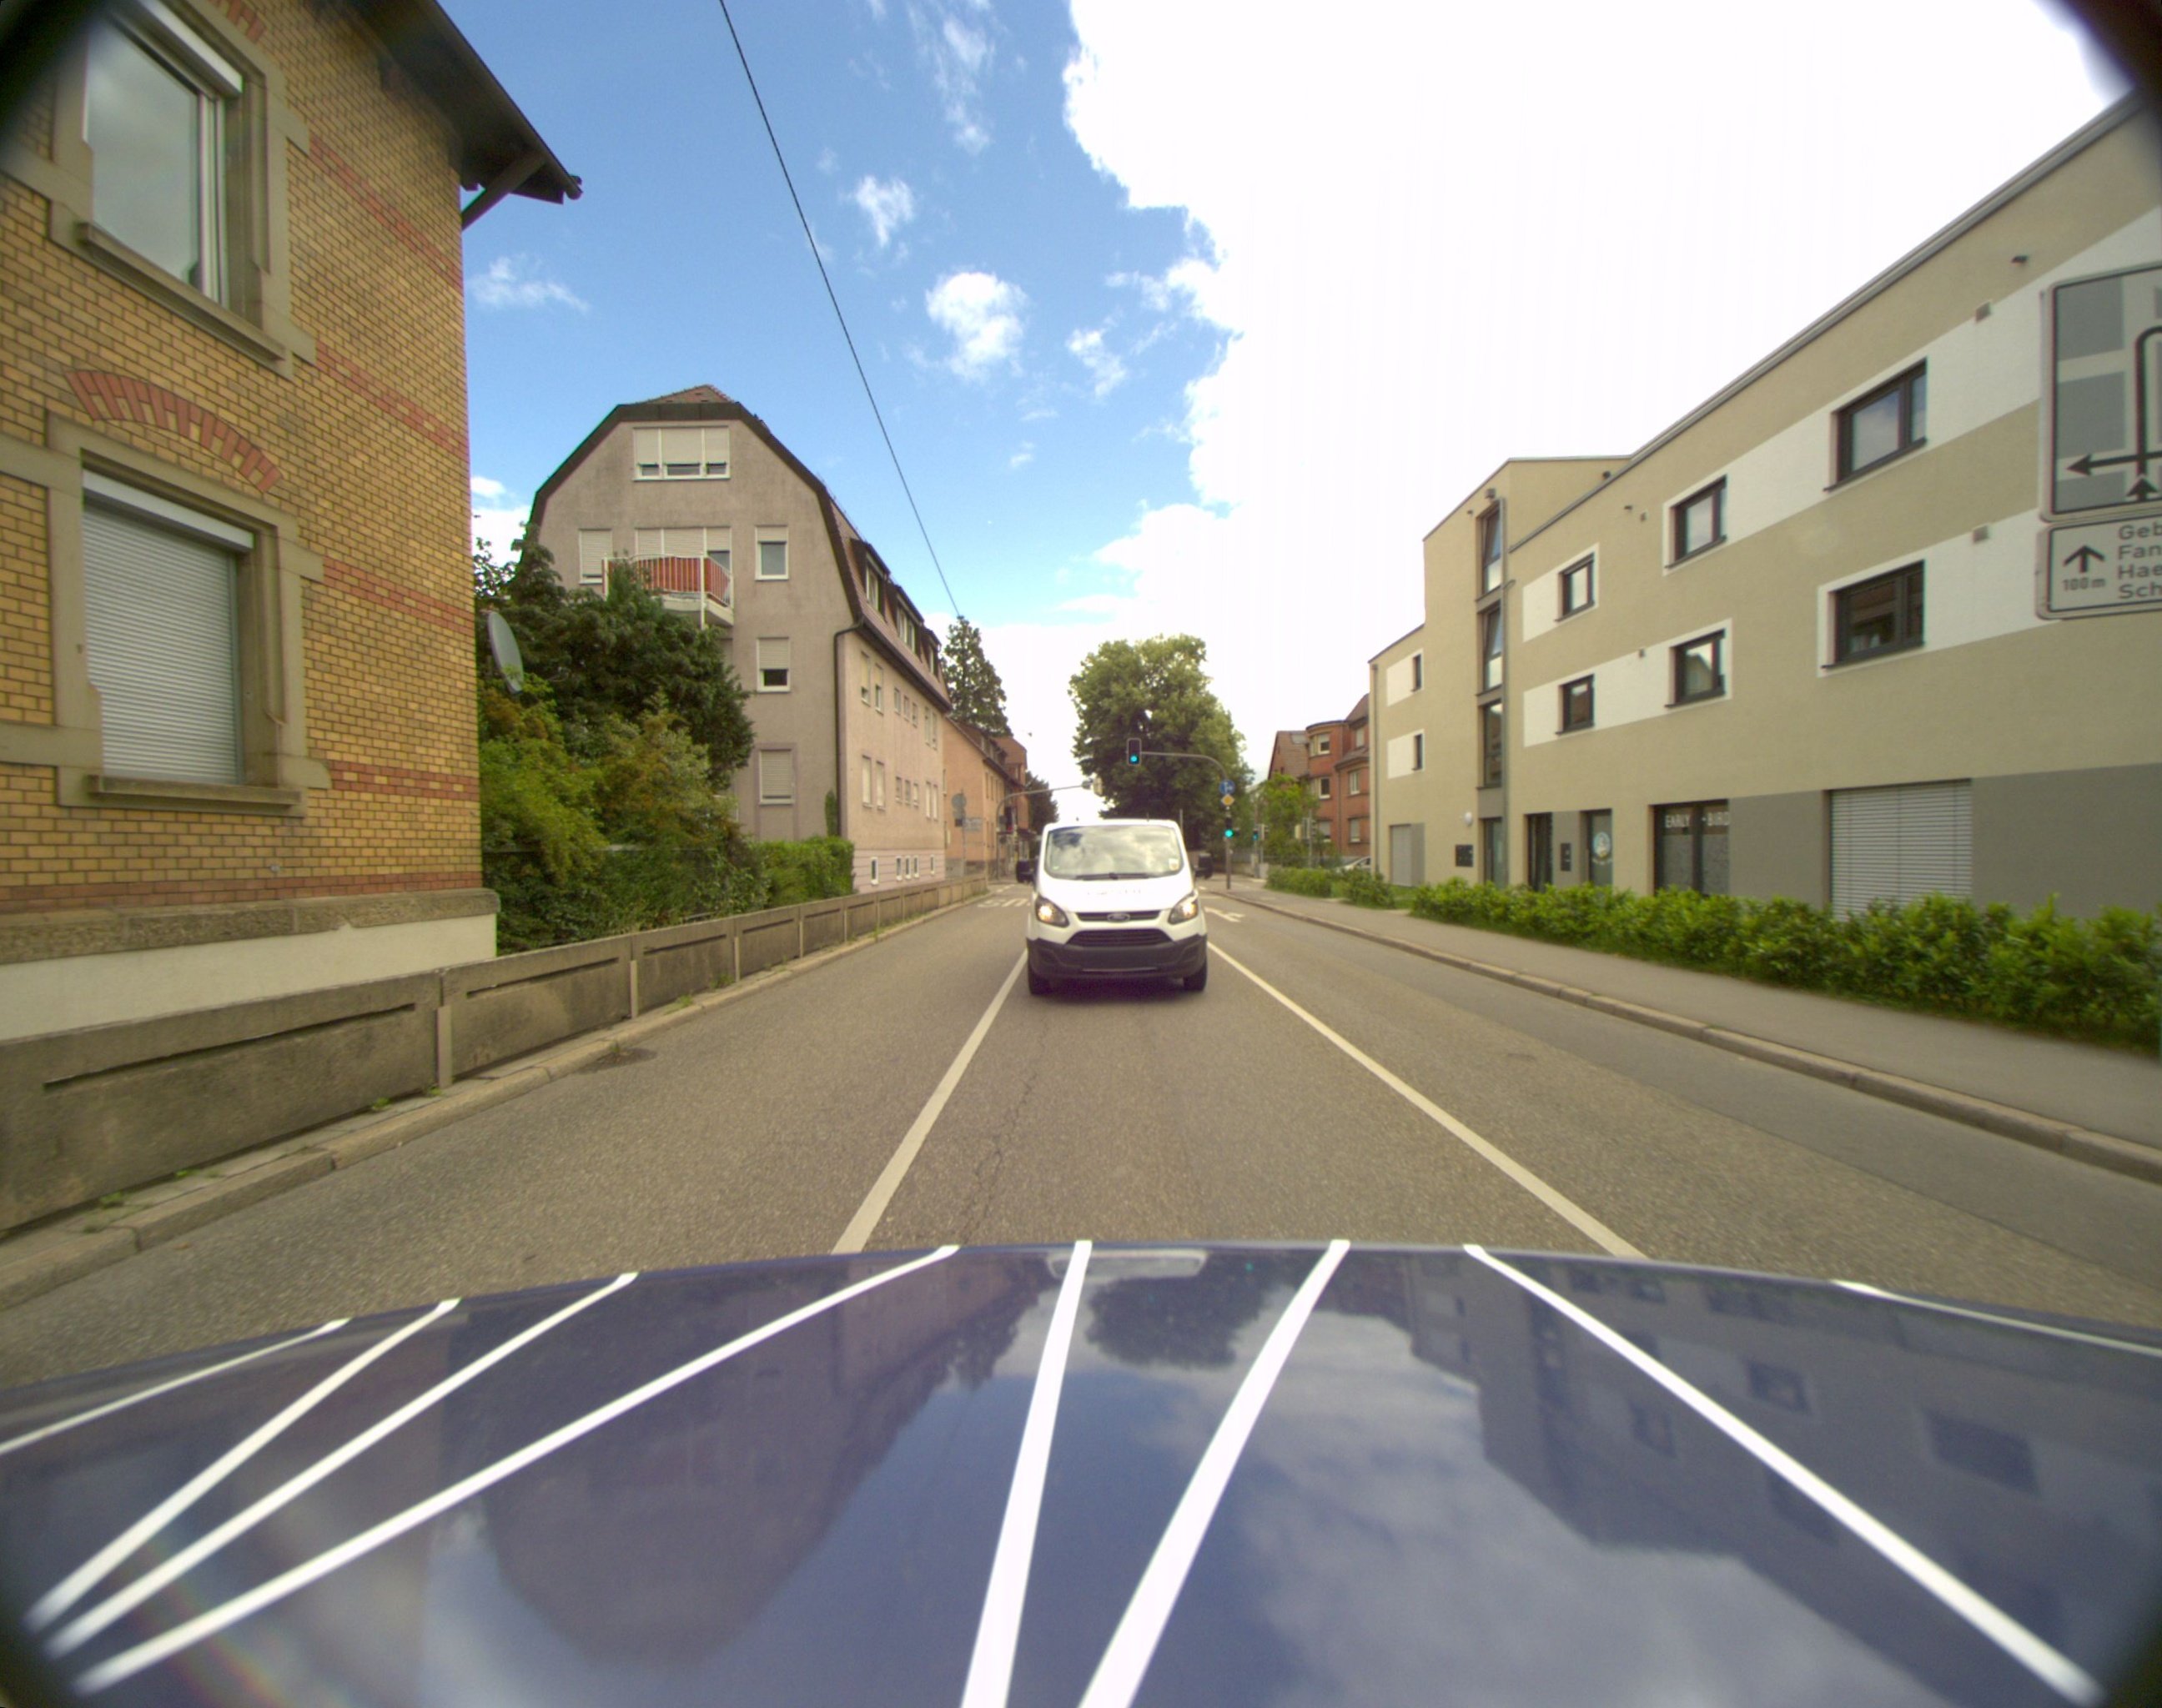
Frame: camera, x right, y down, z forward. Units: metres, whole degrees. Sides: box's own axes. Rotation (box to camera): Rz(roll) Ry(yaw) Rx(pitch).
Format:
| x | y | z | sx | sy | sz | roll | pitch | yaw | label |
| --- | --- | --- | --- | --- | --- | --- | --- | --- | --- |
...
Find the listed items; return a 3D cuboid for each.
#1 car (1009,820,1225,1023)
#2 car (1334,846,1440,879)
| x | y | z | sx | sy | sz | roll | pitch | yaw | label |
| --- | --- | --- | --- | --- | --- | --- | --- | --- | --- |
| 0.356 | 0.641 | 9.880 | 2.062 | 1.945 | 5.060 | -1 | 0 | 0 | car |
| 16.393 | 0.449 | 40.888 | 4.813 | 1.675 | 2.175 | -1 | 0 | -4 | car |
